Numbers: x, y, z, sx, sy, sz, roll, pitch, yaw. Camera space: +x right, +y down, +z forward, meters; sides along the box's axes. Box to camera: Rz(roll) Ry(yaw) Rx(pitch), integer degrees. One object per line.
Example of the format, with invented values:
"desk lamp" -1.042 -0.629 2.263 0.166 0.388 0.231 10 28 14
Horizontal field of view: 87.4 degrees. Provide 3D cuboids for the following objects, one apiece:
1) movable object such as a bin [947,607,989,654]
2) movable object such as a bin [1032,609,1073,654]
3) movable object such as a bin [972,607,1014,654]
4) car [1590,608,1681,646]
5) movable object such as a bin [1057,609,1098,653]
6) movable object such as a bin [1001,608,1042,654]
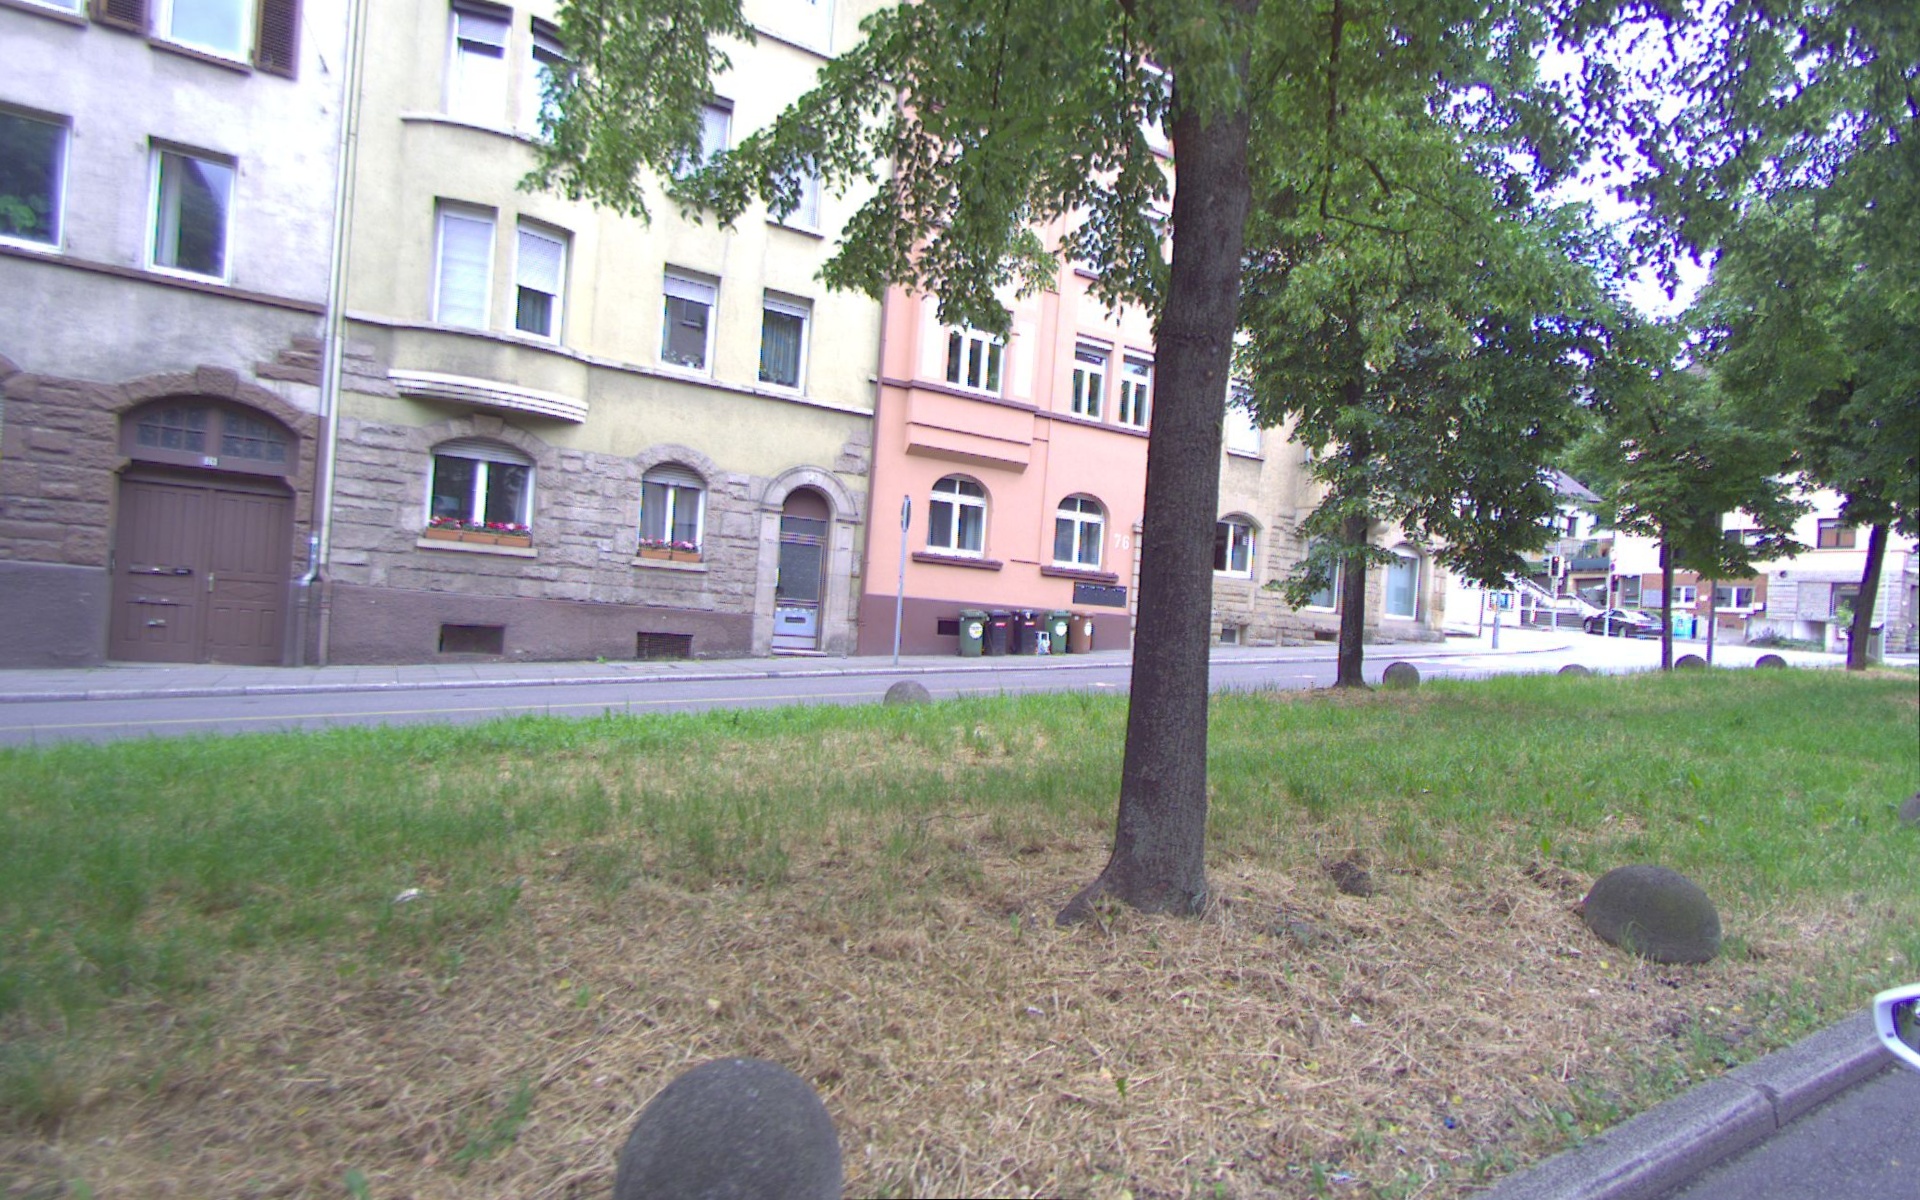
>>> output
"movable object such as a bin" 0.158 0.614 20.297 0.595 0.916 0.605 1 2 -34
"movable object such as a bin" 1.974 0.658 21.452 0.595 0.916 0.605 1 2 -34
"movable object such as a bin" 0.680 0.626 20.645 0.595 0.916 0.605 1 2 -34
"car" 32.976 1.293 49.191 1.845 1.687 4.001 3 0 3
"movable object such as a bin" 2.543 0.663 21.753 0.595 0.916 0.605 1 2 -34
"movable object such as a bin" 1.285 0.636 21.056 0.595 0.916 0.605 1 2 -34
